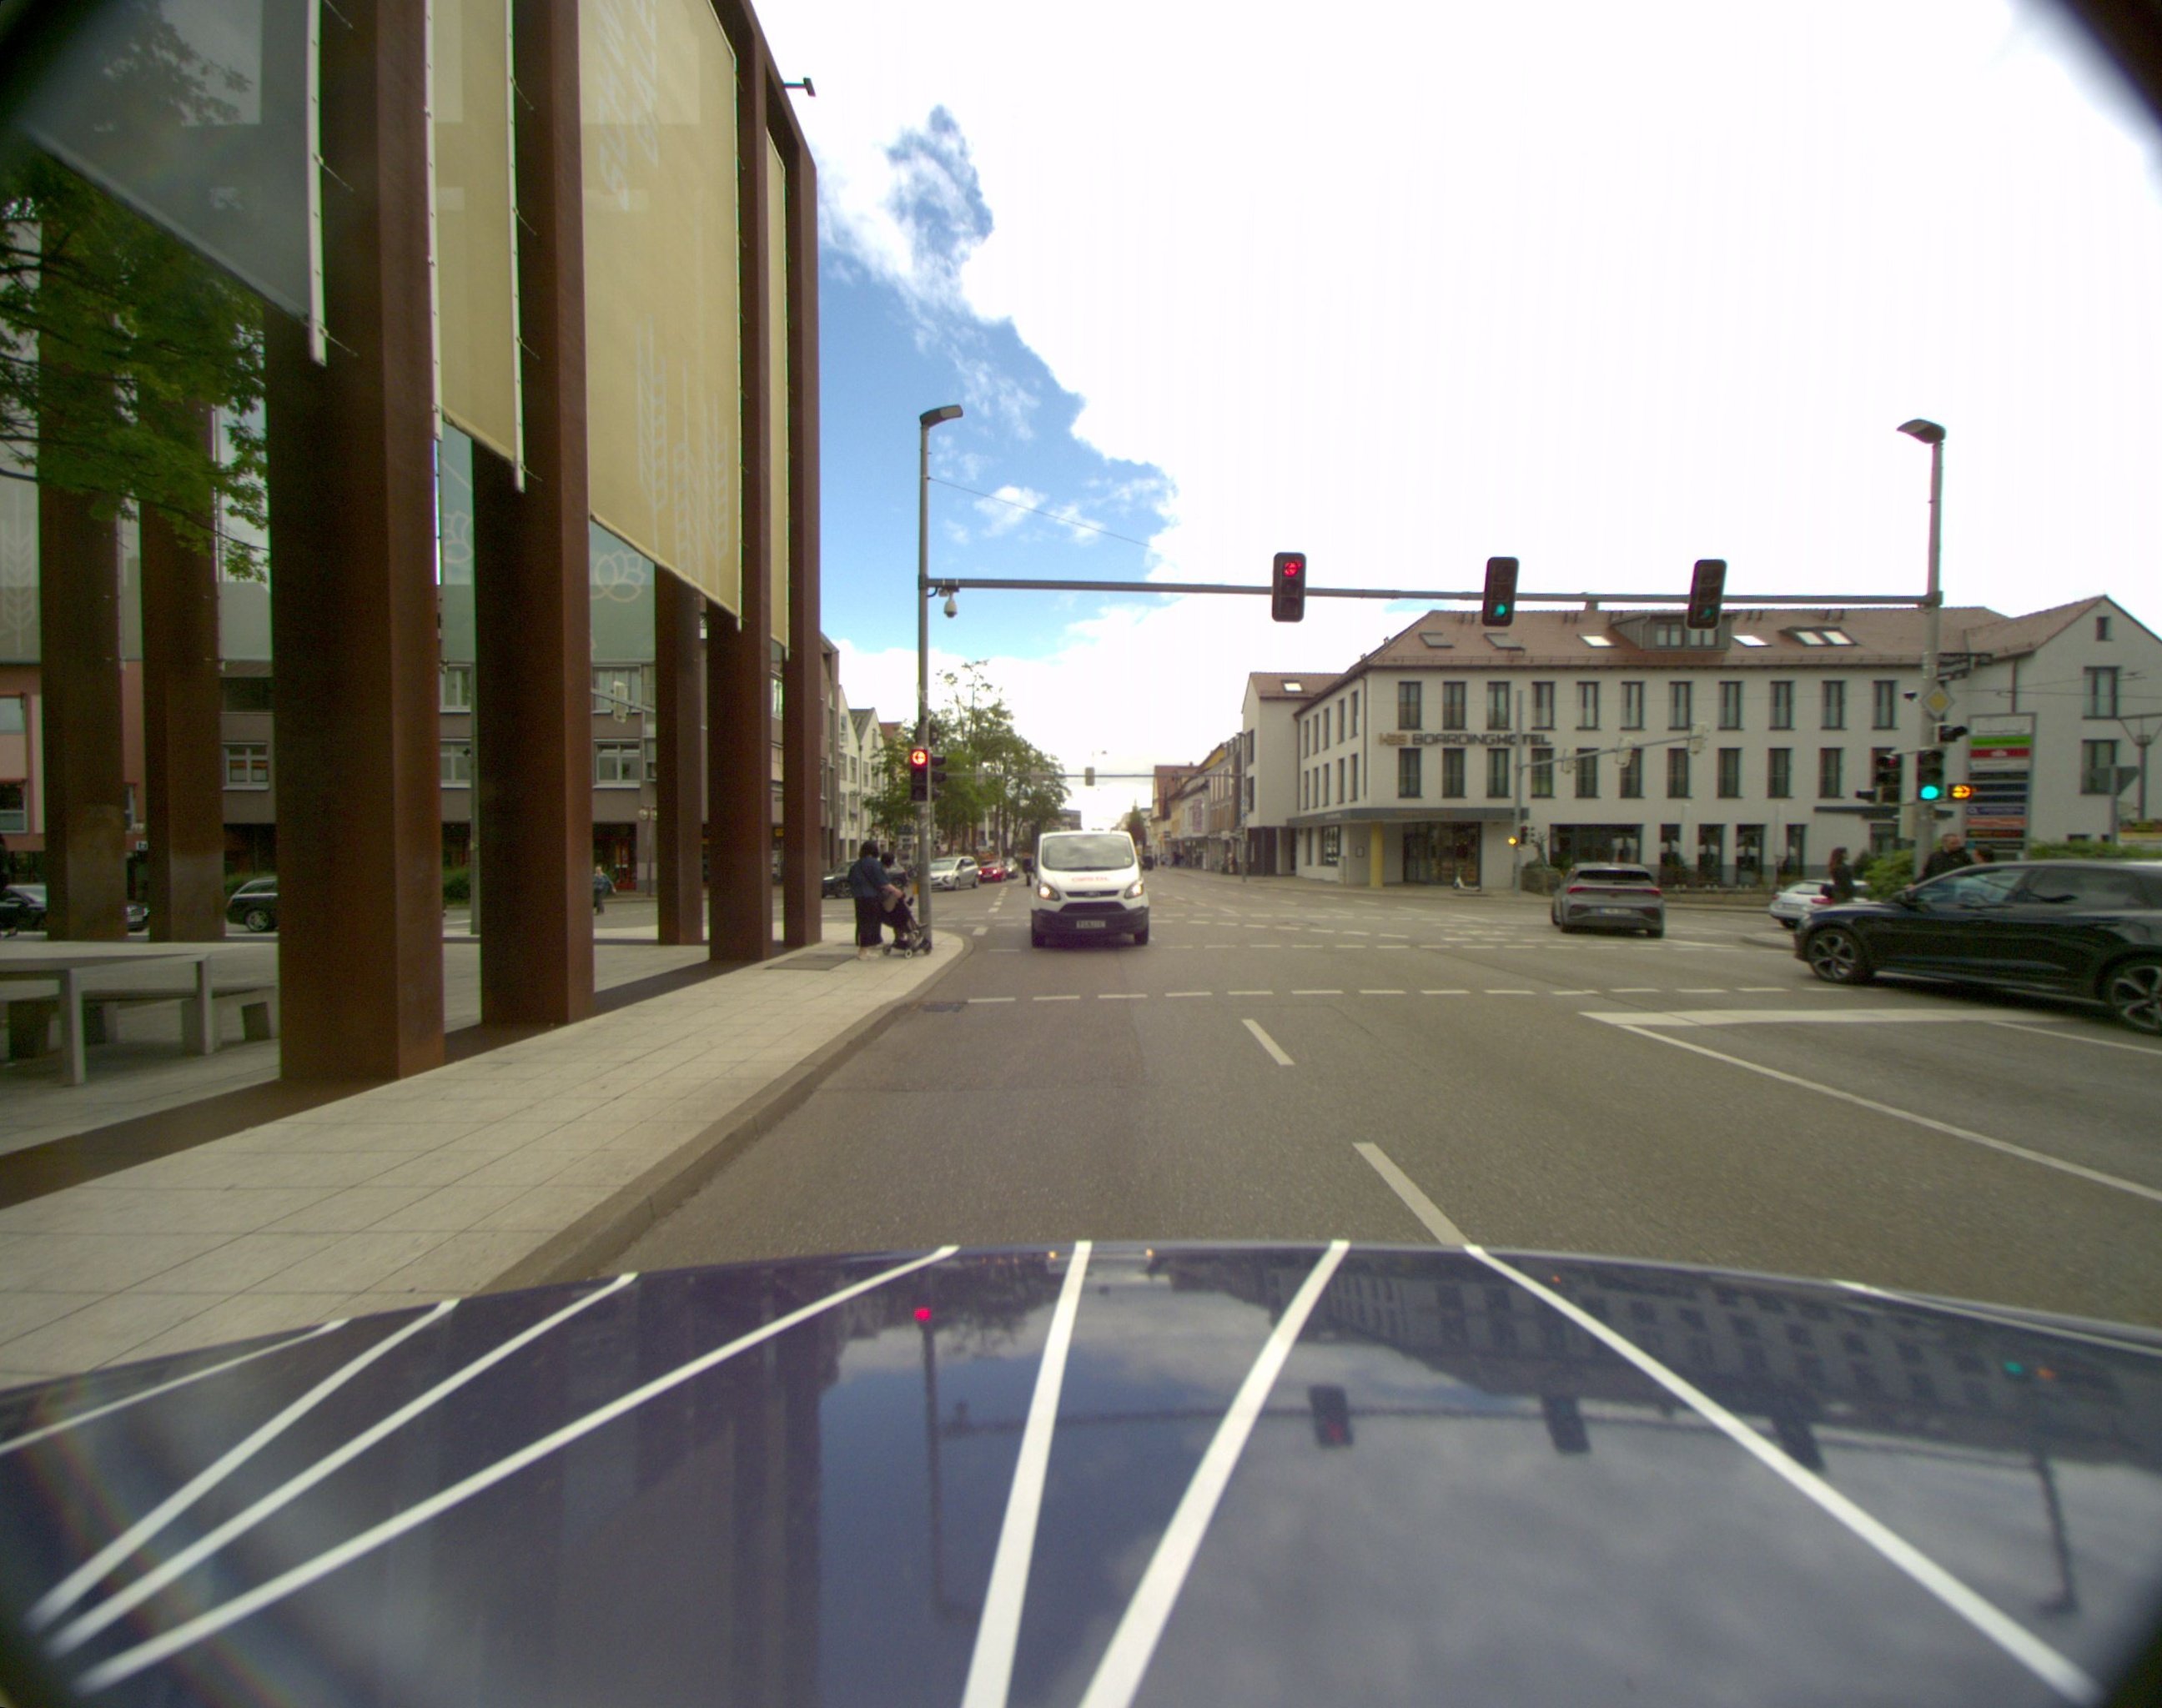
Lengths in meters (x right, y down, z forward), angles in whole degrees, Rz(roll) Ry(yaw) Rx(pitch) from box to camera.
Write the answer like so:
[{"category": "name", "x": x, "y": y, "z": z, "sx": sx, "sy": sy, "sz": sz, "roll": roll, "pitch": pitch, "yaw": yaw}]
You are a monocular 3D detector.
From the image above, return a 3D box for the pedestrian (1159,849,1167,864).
[{"category": "pedestrian", "x": 8.920, "y": 0.279, "z": 82.488, "sx": 0.812, "sy": 1.651, "sz": 0.920, "roll": -1, "pitch": 1, "yaw": 2}]

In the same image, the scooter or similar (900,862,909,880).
[{"category": "scooter or similar", "x": -11.570, "y": 1.107, "z": 49.746, "sx": 0.472, "sy": 1.081, "sz": 1.885, "roll": 0, "pitch": 1, "yaw": -16}]

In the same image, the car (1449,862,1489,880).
[{"category": "car", "x": 27.499, "y": 1.154, "z": 53.966, "sx": 1.397, "sy": 1.173, "sz": 3.353, "roll": 1, "pitch": 0, "yaw": 6}]

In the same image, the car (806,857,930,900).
[{"category": "car", "x": -9.072, "y": 0.999, "z": 32.720, "sx": 1.852, "sy": 1.600, "sz": 4.871, "roll": -2, "pitch": 0, "yaw": 41}]

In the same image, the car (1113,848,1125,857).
[{"category": "car", "x": 6.333, "y": -0.211, "z": 126.738, "sx": 1.873, "sy": 1.477, "sz": 4.000, "roll": 0, "pitch": 0, "yaw": 1}]

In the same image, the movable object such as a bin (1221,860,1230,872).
[{"category": "movable object such as a bin", "x": 11.061, "y": 0.948, "z": 58.066, "sx": 0.552, "sy": 0.894, "sz": 0.507, "roll": -1, "pitch": 1, "yaw": -1}]

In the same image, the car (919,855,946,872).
[{"category": "car", "x": -14.726, "y": 0.890, "z": 75.607, "sx": 1.999, "sy": 1.539, "sz": 4.752, "roll": 1, "pitch": 1, "yaw": -2}]

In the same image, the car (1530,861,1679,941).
[{"category": "car", "x": 11.480, "y": 0.932, "z": 17.000, "sx": 1.760, "sy": 1.508, "sz": 4.394, "roll": 1, "pitch": 0, "yaw": 21}]

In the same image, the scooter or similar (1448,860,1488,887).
[{"category": "scooter or similar", "x": 17.695, "y": 0.889, "z": 34.769, "sx": 0.427, "sy": 1.152, "sz": 1.569, "roll": -1, "pitch": 3, "yaw": -41}]

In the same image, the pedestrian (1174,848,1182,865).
[{"category": "pedestrian", "x": 10.387, "y": 0.237, "z": 81.557, "sx": 0.708, "sy": 1.828, "sz": 1.028, "roll": 0, "pitch": 1, "yaw": 2}]

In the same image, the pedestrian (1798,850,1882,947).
[{"category": "pedestrian", "x": 13.734, "y": 0.782, "z": 13.771, "sx": 0.811, "sy": 1.703, "sz": 0.703, "roll": 0, "pitch": 0, "yaw": 13}]

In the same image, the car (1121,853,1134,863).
[{"category": "car", "x": 6.828, "y": 0.621, "z": 110.931, "sx": 1.748, "sy": 1.450, "sz": 3.818, "roll": 0, "pitch": 0, "yaw": 1}]

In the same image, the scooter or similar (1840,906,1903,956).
[{"category": "scooter or similar", "x": 12.587, "y": 1.219, "z": 12.107, "sx": 0.455, "sy": 0.722, "sz": 0.538, "roll": -1, "pitch": 0, "yaw": -7}]

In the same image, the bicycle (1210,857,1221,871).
[{"category": "bicycle", "x": 10.993, "y": 0.818, "z": 62.155, "sx": 0.573, "sy": 1.094, "sz": 1.902, "roll": -1, "pitch": 0, "yaw": 1}]

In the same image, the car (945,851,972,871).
[{"category": "car", "x": -12.143, "y": 0.669, "z": 75.536, "sx": 1.999, "sy": 1.865, "sz": 4.752, "roll": 1, "pitch": 1, "yaw": -1}]

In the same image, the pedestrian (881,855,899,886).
[{"category": "pedestrian", "x": -10.150, "y": 0.890, "z": 40.481, "sx": 0.743, "sy": 1.617, "sz": 0.953, "roll": 0, "pitch": 1, "yaw": -2}]

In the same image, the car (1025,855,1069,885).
[{"category": "car", "x": -1.764, "y": 0.807, "z": 40.459, "sx": 1.998, "sy": 1.490, "sz": 4.000, "roll": 0, "pitch": 0, "yaw": 2}]

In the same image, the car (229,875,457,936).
[{"category": "car", "x": -19.434, "y": 1.332, "z": 20.160, "sx": 4.184, "sy": 1.396, "sz": 1.800, "roll": -1, "pitch": 0, "yaw": -2}]

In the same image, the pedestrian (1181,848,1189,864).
[{"category": "pedestrian", "x": 11.153, "y": 0.229, "z": 81.550, "sx": 0.708, "sy": 1.771, "sz": 0.870, "roll": 0, "pitch": 1, "yaw": 2}]

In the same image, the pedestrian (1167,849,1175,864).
[{"category": "pedestrian", "x": 9.724, "y": 0.250, "z": 82.132, "sx": 0.812, "sy": 1.574, "sz": 0.920, "roll": -1, "pitch": 1, "yaw": 2}]

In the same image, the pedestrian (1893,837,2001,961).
[{"category": "pedestrian", "x": 13.073, "y": 0.658, "z": 11.494, "sx": 0.812, "sy": 1.797, "sz": 0.745, "roll": -1, "pitch": 1, "yaw": -7}]

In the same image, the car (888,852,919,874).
[{"category": "car", "x": -15.053, "y": 0.714, "z": 64.556, "sx": 1.739, "sy": 1.793, "sz": 4.260, "roll": 0, "pitch": 0, "yaw": -1}]

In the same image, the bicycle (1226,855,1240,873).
[{"category": "bicycle", "x": 11.116, "y": 0.719, "z": 55.454, "sx": 0.583, "sy": 1.225, "sz": 2.119, "roll": -1, "pitch": 0, "yaw": 0}]

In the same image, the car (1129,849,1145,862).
[{"category": "car", "x": 6.912, "y": 0.184, "z": 94.061, "sx": 1.748, "sy": 1.450, "sz": 4.235, "roll": 0, "pitch": 0, "yaw": 1}]

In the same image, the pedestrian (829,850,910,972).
[{"category": "pedestrian", "x": -2.985, "y": 0.767, "z": 10.729, "sx": 0.870, "sy": 1.637, "sz": 0.682, "roll": 0, "pitch": 1, "yaw": 35}]

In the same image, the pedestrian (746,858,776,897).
[{"category": "pedestrian", "x": -13.584, "y": 1.000, "z": 32.309, "sx": 0.810, "sy": 1.617, "sz": 1.093, "roll": 0, "pitch": 1, "yaw": -1}]

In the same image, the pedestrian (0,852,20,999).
[{"category": "pedestrian", "x": -12.679, "y": 0.816, "z": 8.187, "sx": 0.881, "sy": 1.671, "sz": 1.120, "roll": 0, "pitch": 1, "yaw": -2}]

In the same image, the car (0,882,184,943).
[{"category": "car", "x": -26.575, "y": 1.508, "z": 19.674, "sx": 4.546, "sy": 1.396, "sz": 1.801, "roll": -1, "pitch": 0, "yaw": 1}]

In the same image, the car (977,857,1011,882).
[{"category": "car", "x": -5.554, "y": 0.993, "z": 48.644, "sx": 1.630, "sy": 1.440, "sz": 3.642, "roll": -2, "pitch": 0, "yaw": 1}]

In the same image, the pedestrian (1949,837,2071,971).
[{"category": "pedestrian", "x": 13.045, "y": 0.675, "z": 10.689, "sx": 0.812, "sy": 1.797, "sz": 0.774, "roll": -1, "pitch": 1, "yaw": -7}]

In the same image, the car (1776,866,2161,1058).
[{"category": "car", "x": 9.425, "y": 0.888, "z": 7.348, "sx": 1.706, "sy": 1.435, "sz": 3.999, "roll": 0, "pitch": 0, "yaw": -1}]

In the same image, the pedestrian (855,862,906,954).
[{"category": "pedestrian", "x": -3.135, "y": 0.831, "z": 11.934, "sx": 0.602, "sy": 1.412, "sz": 0.582, "roll": -1, "pitch": 0, "yaw": 3}]

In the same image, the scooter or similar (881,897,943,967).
[{"category": "scooter or similar", "x": -2.496, "y": 1.139, "z": 11.262, "sx": 0.633, "sy": 0.956, "sz": 0.622, "roll": 0, "pitch": 1, "yaw": 35}]

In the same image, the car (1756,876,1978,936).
[{"category": "car", "x": 20.875, "y": 1.362, "z": 20.296, "sx": 4.196, "sy": 1.409, "sz": 1.640, "roll": 2, "pitch": -1, "yaw": 0}]

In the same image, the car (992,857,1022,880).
[{"category": "car", "x": -5.424, "y": 1.061, "z": 55.885, "sx": 1.802, "sy": 1.521, "sz": 3.999, "roll": -2, "pitch": 0, "yaw": -1}]

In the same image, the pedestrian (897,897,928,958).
[{"category": "pedestrian", "x": -2.640, "y": 1.146, "z": 11.917, "sx": 0.362, "sy": 0.918, "sz": 0.454, "roll": -1, "pitch": 0, "yaw": 3}]

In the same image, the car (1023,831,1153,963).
[{"category": "car", "x": 0.160, "y": 0.656, "z": 14.704, "sx": 1.940, "sy": 1.968, "sz": 5.779, "roll": -2, "pitch": 0, "yaw": 1}]

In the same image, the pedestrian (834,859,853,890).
[{"category": "pedestrian", "x": -12.645, "y": 1.083, "z": 40.434, "sx": 0.743, "sy": 1.617, "sz": 0.953, "roll": 0, "pitch": 1, "yaw": -2}]

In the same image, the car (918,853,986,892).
[{"category": "car", "x": -6.314, "y": 0.872, "z": 37.735, "sx": 1.742, "sy": 1.691, "sz": 4.384, "roll": -2, "pitch": 0, "yaw": 13}]
